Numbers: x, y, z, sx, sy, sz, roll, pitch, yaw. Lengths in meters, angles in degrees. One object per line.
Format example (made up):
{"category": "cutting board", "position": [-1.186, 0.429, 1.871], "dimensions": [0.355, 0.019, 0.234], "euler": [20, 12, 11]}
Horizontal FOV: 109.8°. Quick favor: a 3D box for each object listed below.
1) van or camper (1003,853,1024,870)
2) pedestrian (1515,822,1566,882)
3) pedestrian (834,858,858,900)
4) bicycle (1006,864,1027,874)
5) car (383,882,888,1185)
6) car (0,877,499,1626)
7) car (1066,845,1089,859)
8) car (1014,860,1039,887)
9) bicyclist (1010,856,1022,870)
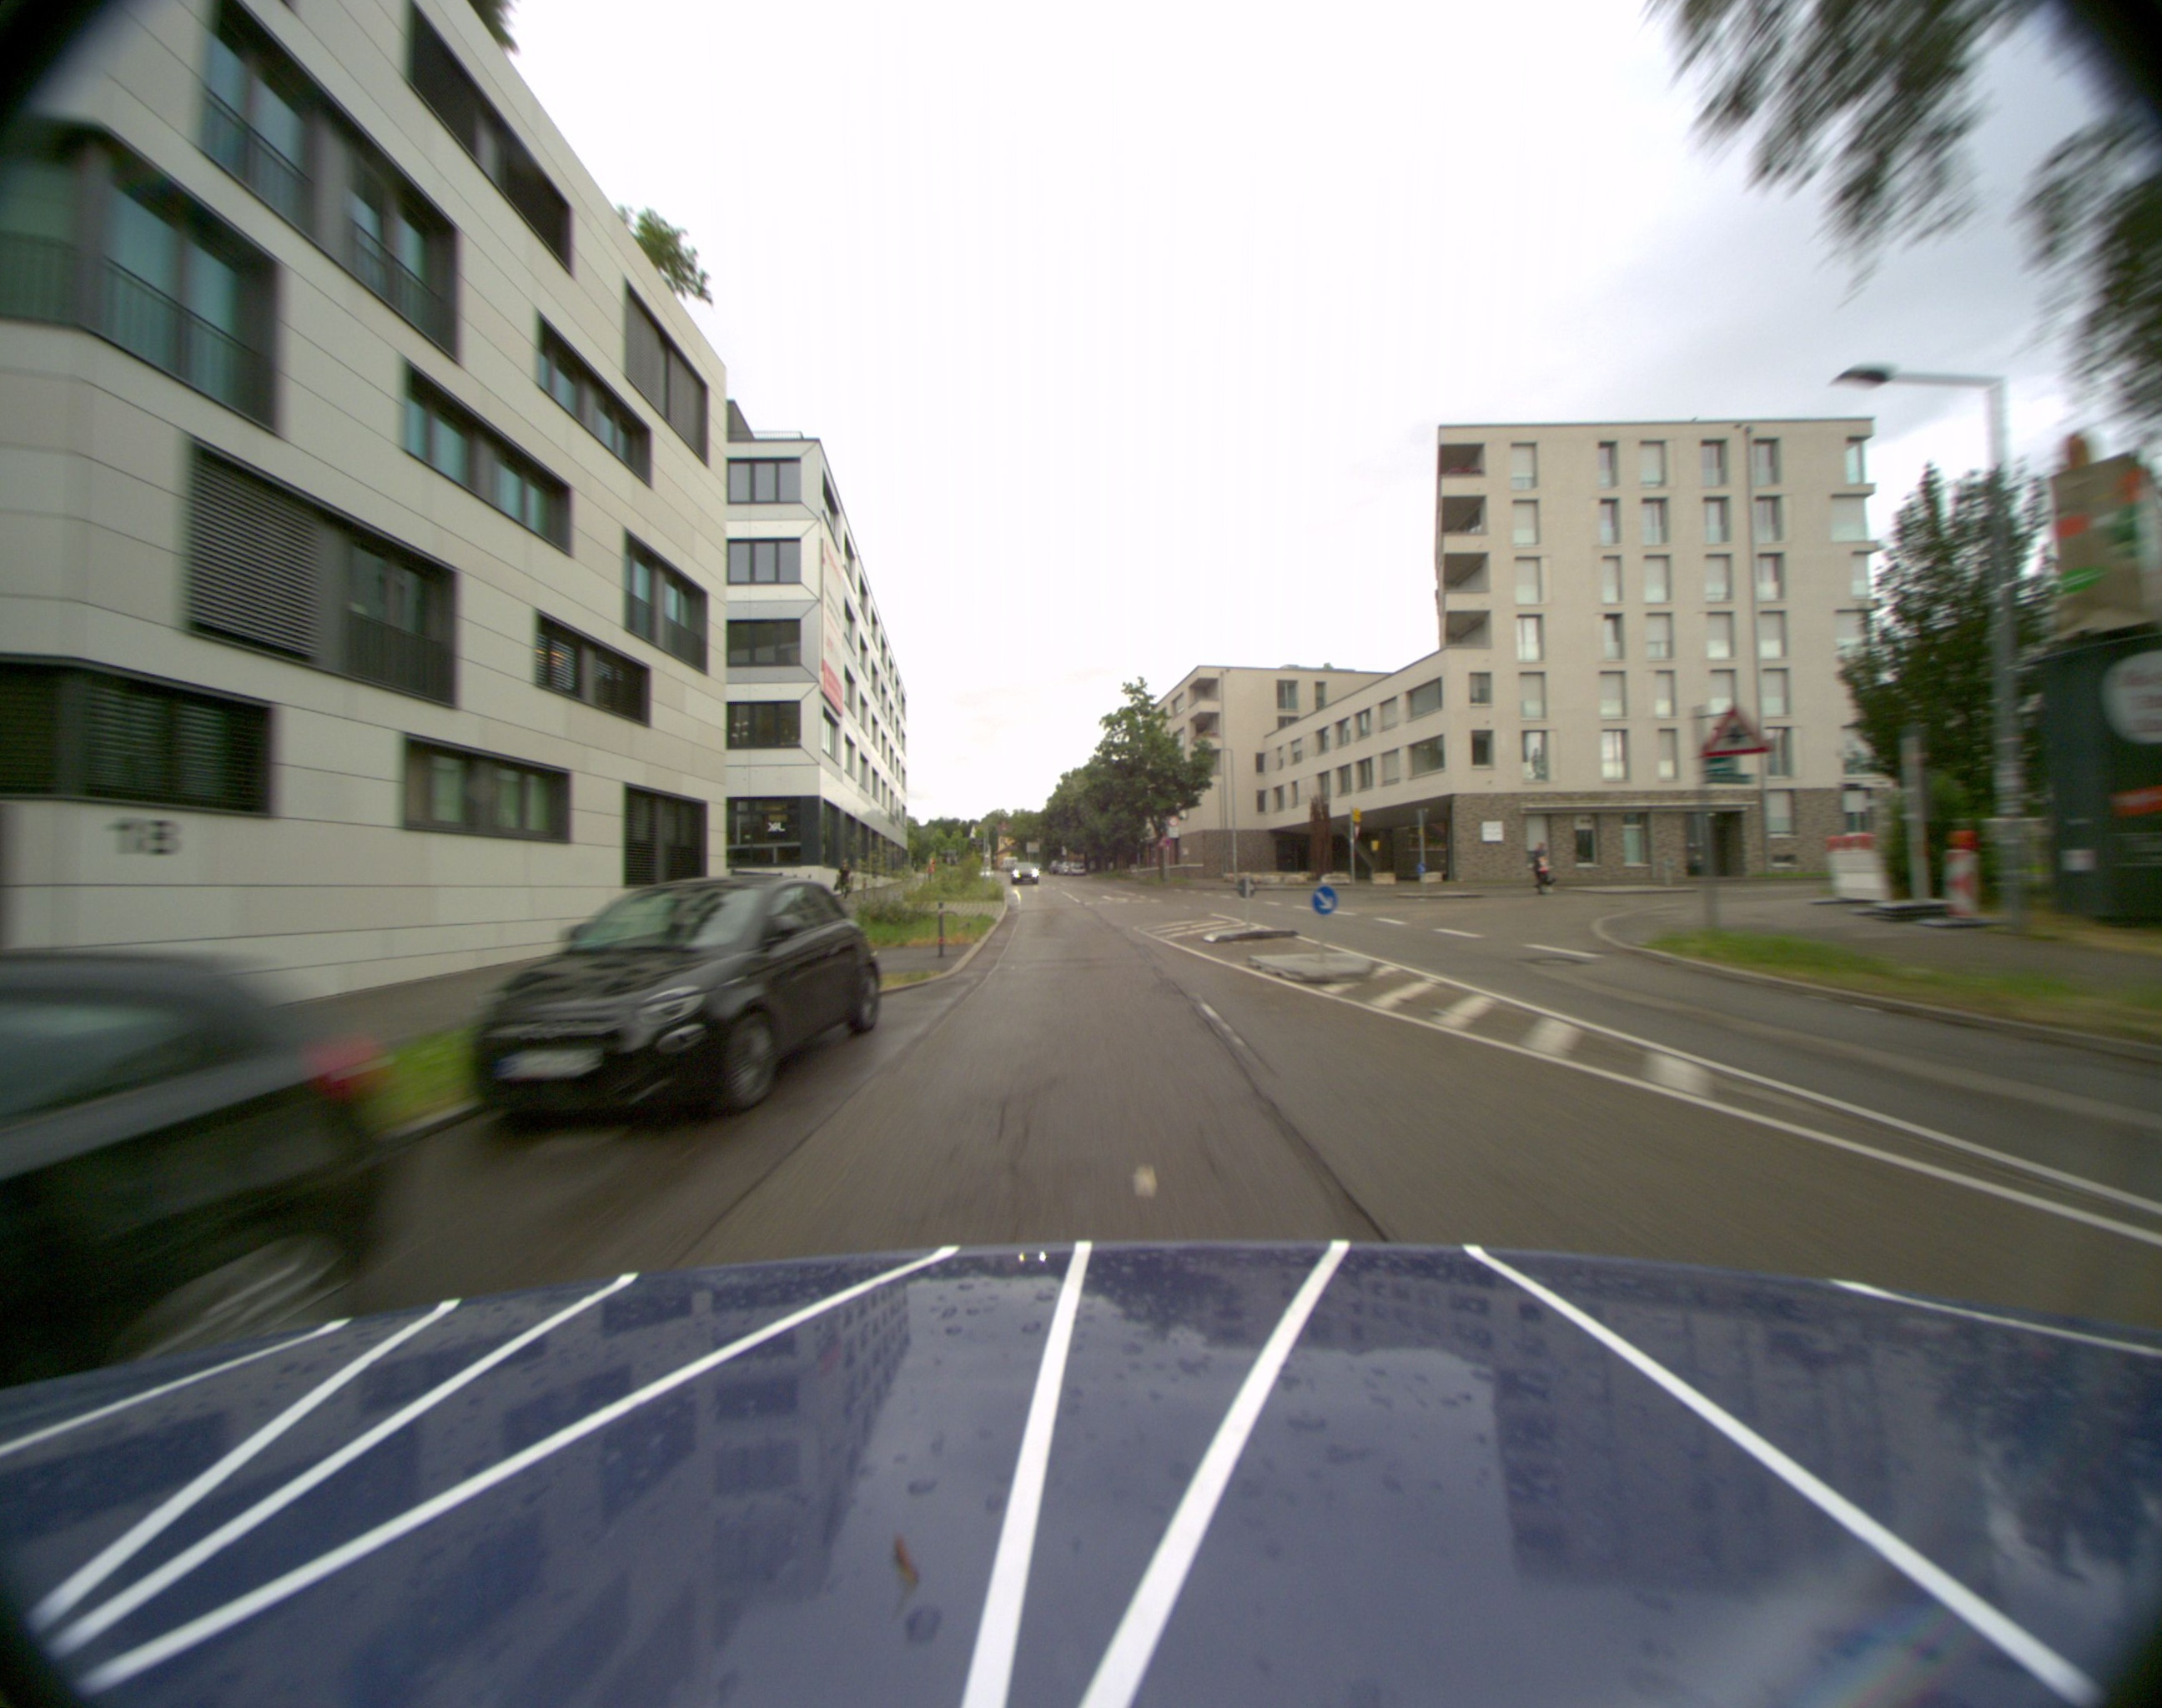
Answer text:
{"category": "van or camper", "position": [-12.025, 1.316, 134.360], "dimensions": [2.349, 2.749, 6.132], "euler": [-2, 1, -18]}
{"category": "pedestrian", "position": [15.862, -0.087, 26.250], "dimensions": [1.060, 2.002, 1.097], "euler": [-3, 2, -28]}
{"category": "pedestrian", "position": [-10.268, 1.085, 33.236], "dimensions": [0.825, 1.786, 0.778], "euler": [-1, 2, -4]}
{"category": "bicycle", "position": [-7.265, 1.690, 85.421], "dimensions": [2.252, 0.973, 0.804], "euler": [-2, 1, 3]}
{"category": "car", "position": [-2.856, 1.035, 5.883], "dimensions": [1.549, 1.470, 3.661], "euler": [-2, 0, 3]}
{"category": "car", "position": [-3.182, 0.894, 0.596], "dimensions": [1.812, 1.476, 4.495], "euler": [-2, 1, 2]}
{"category": "car", "position": [-0.421, -0.267, 86.710], "dimensions": [1.886, 1.454, 3.843], "euler": [-2, 1, -11]}
{"category": "car", "position": [-4.300, 1.505, 60.216], "dimensions": [1.848, 1.961, 4.342], "euler": [-2, 1, -3]}
{"category": "bicyclist", "position": [-7.354, 0.988, 85.398], "dimensions": [1.201, 1.514, 0.803], "euler": [-2, 2, 2]}
